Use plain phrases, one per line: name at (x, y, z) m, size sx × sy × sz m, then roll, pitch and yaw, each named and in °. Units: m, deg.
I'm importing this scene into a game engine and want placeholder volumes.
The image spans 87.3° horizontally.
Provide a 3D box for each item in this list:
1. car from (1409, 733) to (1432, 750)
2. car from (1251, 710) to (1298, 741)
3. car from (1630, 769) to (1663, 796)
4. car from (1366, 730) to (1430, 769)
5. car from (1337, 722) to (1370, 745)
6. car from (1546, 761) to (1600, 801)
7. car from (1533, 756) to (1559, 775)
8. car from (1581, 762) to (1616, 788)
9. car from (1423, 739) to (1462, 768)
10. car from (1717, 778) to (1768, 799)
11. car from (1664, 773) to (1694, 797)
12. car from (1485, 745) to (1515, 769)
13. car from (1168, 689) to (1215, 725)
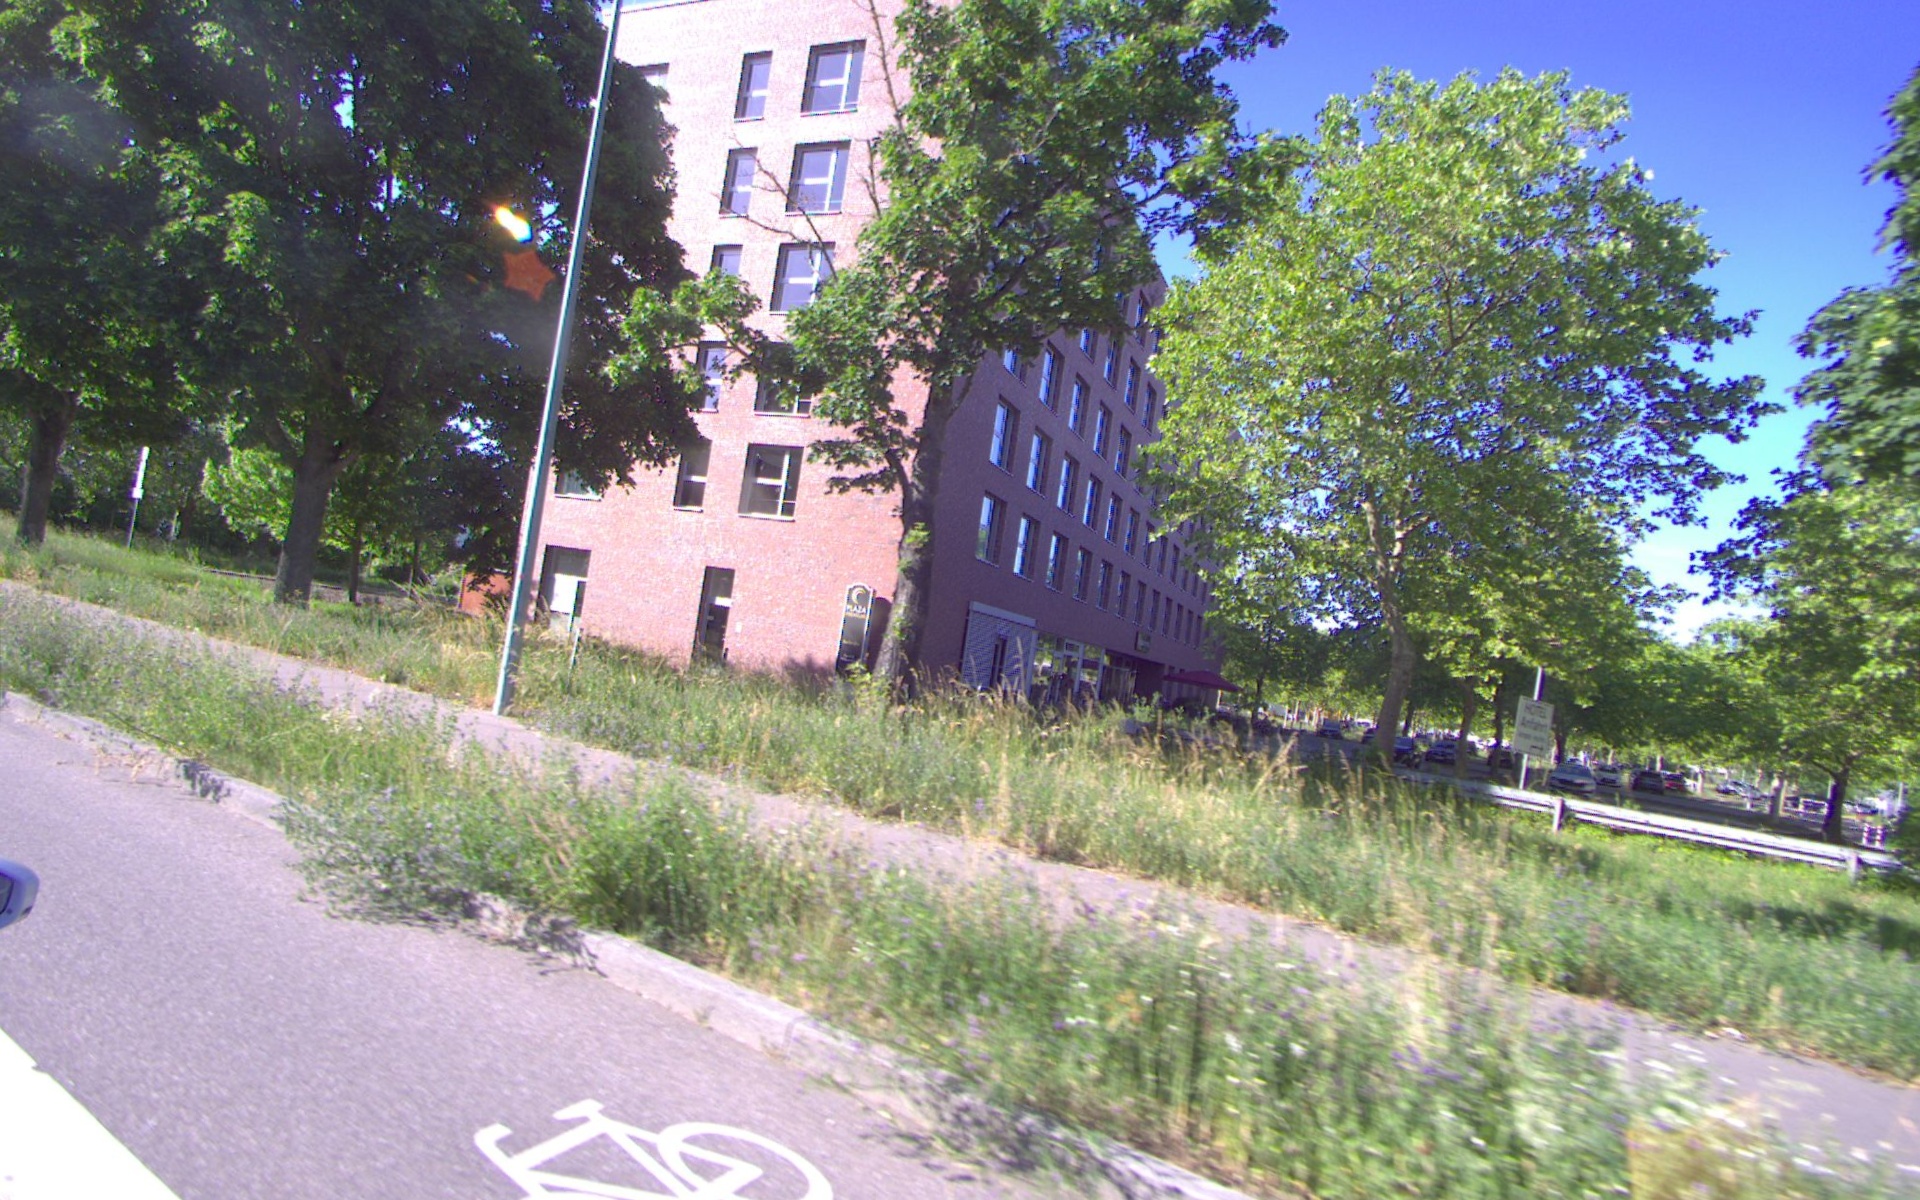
car at (50.859, 15.625, 110.953) m, size 1.801 × 1.477 × 4.232 m, roll 7°, pitch -4°, yaw 30°
car at (18.909, 7.549, 60.472) m, size 1.841 × 1.507 × 4.002 m, roll 7°, pitch -4°, yaw 28°
car at (49.291, 13.072, 72.275) m, size 1.708 × 1.507 × 3.998 m, roll 7°, pitch -4°, yaw 33°
car at (21.746, 7.439, 49.883) m, size 1.846 × 1.507 × 3.991 m, roll 6°, pitch -4°, yaw 39°
car at (32.440, 11.028, 82.917) m, size 1.801 × 1.477 × 4.232 m, roll 7°, pitch -4°, yaw 30°
car at (27.873, 8.215, 45.852) m, size 1.801 × 1.413 × 4.526 m, roll 7°, pitch -4°, yaw 30°
car at (51.789, 14.646, 89.005) m, size 1.801 × 1.304 × 4.232 m, roll 7°, pitch -4°, yaw 30°
car at (46.863, 12.811, 73.866) m, size 1.801 × 1.477 × 4.232 m, roll 7°, pitch -4°, yaw 30°
car at (30.611, 9.722, 63.753) m, size 1.801 × 1.477 × 4.232 m, roll 7°, pitch -4°, yaw 30°
car at (87.604, 21.112, 112.620) m, size 4.160 × 1.478 × 1.832 m, roll 7°, pitch -4°, yaw 31°
car at (61.019, 15.680, 85.419) m, size 1.803 × 1.691 × 4.226 m, roll 7°, pitch -4°, yaw 35°
car at (41.324, 11.997, 76.916) m, size 1.801 × 1.477 × 4.232 m, roll 7°, pitch -4°, yaw 30°
car at (14.188, 6.579, 61.499) m, size 1.839 × 1.848 × 4.004 m, roll 7°, pitch -4°, yaw 25°
